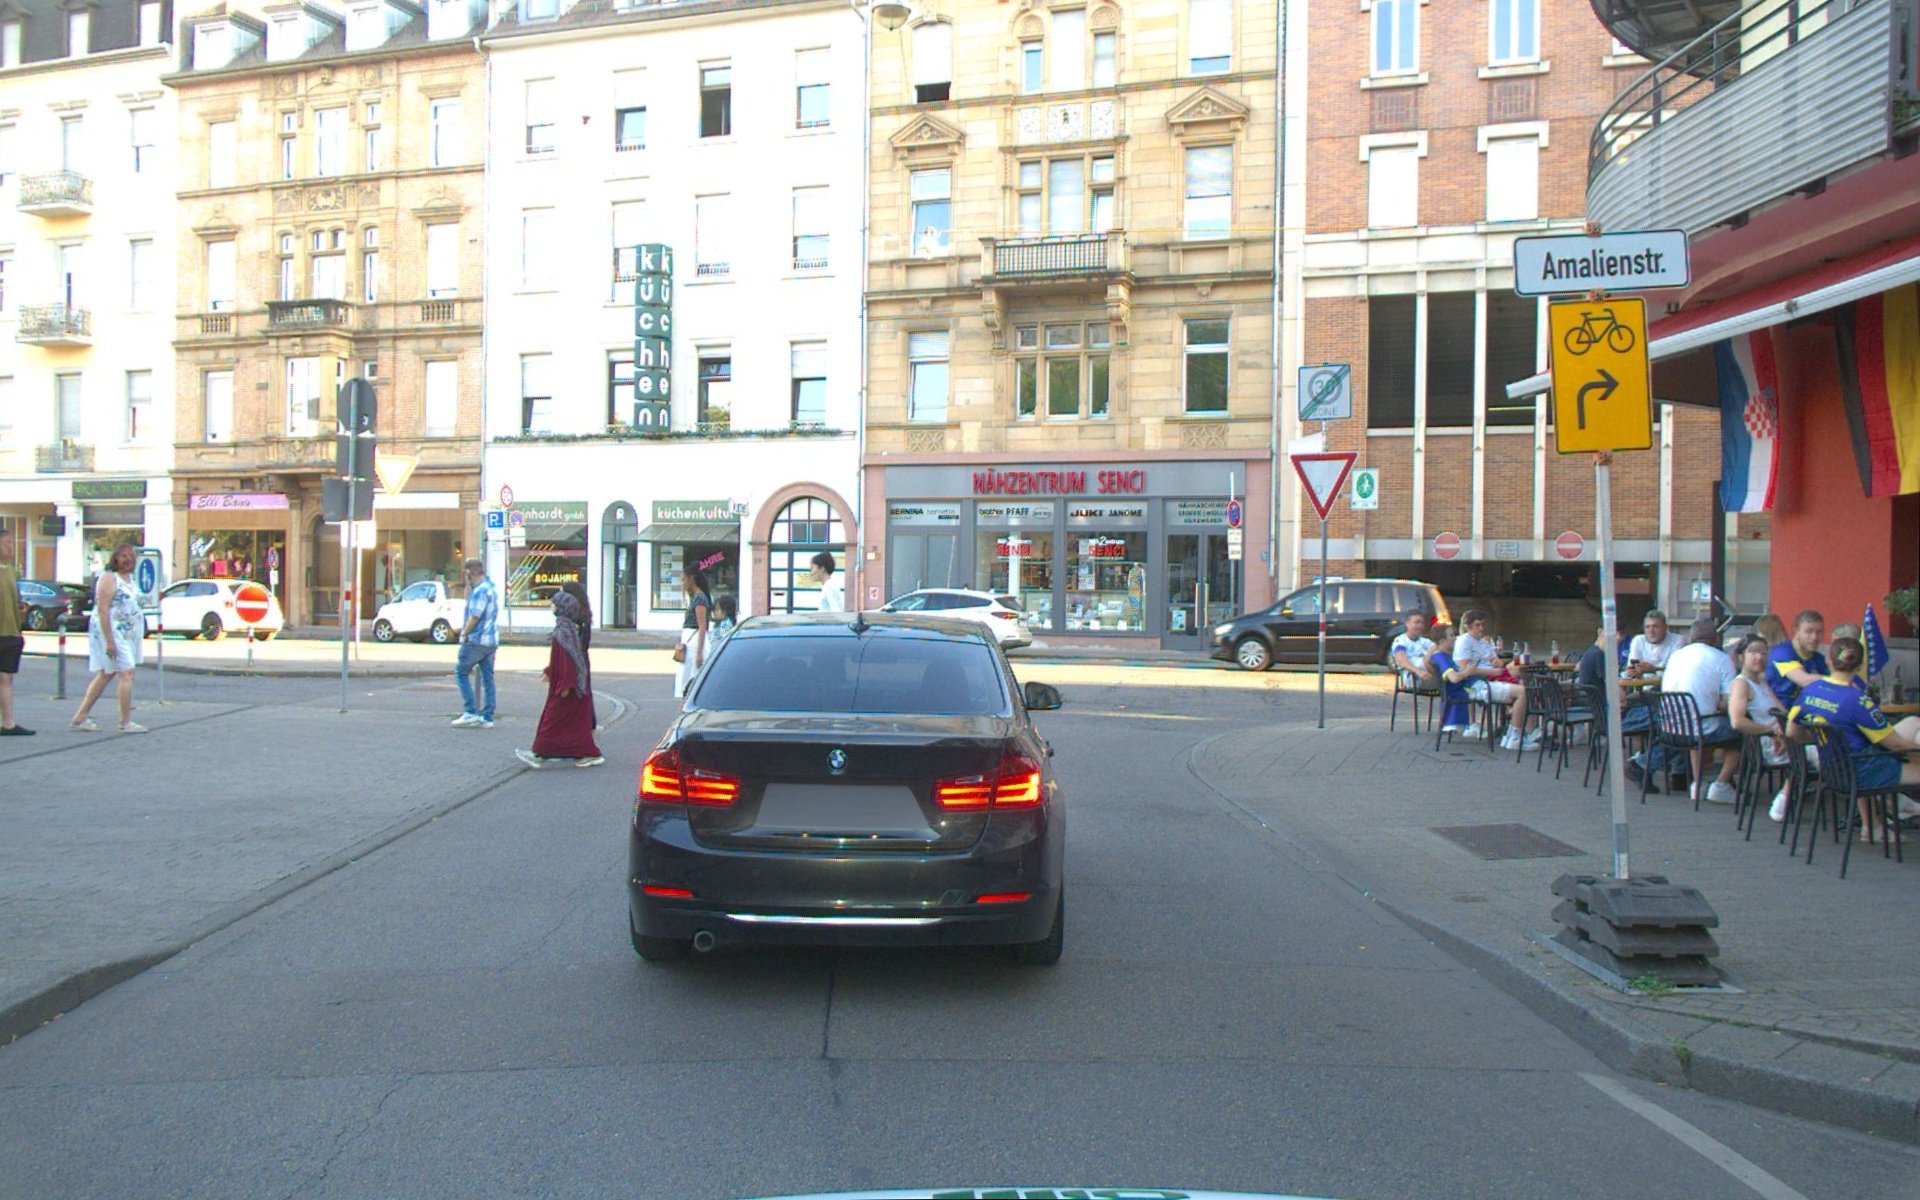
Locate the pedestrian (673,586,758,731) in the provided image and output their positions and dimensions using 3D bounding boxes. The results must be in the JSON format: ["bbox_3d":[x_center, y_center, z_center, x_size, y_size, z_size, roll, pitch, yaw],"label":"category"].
[{"bbox_3d":[-2.591,0.610,17.580,0.798,1.500,0.607,0,0,1],"label":"pedestrian"}]

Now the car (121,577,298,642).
[{"bbox_3d":[-18.172,0.196,40.052,3.909,1.498,1.882,1,1,27],"label":"car"}]

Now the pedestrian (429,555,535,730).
[{"bbox_3d":[-4.988,0.432,17.296,0.876,1.755,0.608,2,2,3],"label":"pedestrian"}]

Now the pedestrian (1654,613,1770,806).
[{"bbox_3d":[5.331,0.759,11.724,0.622,1.298,0.504,-2,0,-40],"label":"pedestrian"}]

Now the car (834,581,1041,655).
[{"bbox_3d":[-0.502,0.393,37.153,4.261,1.590,1.869,0,0,20],"label":"car"}]

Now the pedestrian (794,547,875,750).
[{"bbox_3d":[-1.209,0.455,16.022,0.684,1.910,0.678,1,0,0],"label":"pedestrian"}]

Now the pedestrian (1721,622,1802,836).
[{"bbox_3d":[4.928,0.788,10.185,0.336,1.279,0.360,-2,0,13],"label":"pedestrian"}]

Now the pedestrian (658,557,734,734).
[{"bbox_3d":[-2.704,0.455,16.976,0.653,1.776,0.607,0,0,3],"label":"pedestrian"}]

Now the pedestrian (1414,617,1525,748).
[{"bbox_3d":[4.723,0.757,15.371,0.871,1.170,0.619,0,0,4],"label":"pedestrian"}]

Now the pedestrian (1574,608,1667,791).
[{"bbox_3d":[4.959,0.736,12.434,0.481,1.326,0.418,-2,0,-3],"label":"pedestrian"}]

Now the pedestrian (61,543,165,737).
[{"bbox_3d":[-7.974,0.361,15.575,0.661,1.776,0.655,1,0,36],"label":"pedestrian"}]

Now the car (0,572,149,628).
[{"bbox_3d":[-25.494,0.001,47.413,3.904,1.537,1.800,0,0,20],"label":"car"}]

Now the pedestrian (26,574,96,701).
[{"bbox_3d":[-10.462,0.431,19.246,0.525,1.433,0.469,2,0,28],"label":"pedestrian"}]

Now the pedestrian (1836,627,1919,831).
[{"bbox_3d":[5.829,0.786,10.306,0.528,1.222,0.415,-2,0,45],"label":"pedestrian"}]

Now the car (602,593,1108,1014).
[{"bbox_3d":[-0.452,0.705,8.166,1.729,1.399,4.788,2,1,-2],"label":"car"}]

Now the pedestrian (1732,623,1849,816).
[{"bbox_3d":[5.518,0.778,10.989,0.415,1.222,0.560,-2,0,-44],"label":"pedestrian"}]

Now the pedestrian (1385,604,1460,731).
[{"bbox_3d":[4.805,0.689,17.214,0.604,1.276,0.736,0,0,3],"label":"pedestrian"}]

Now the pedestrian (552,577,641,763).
[{"bbox_3d":[-3.303,0.627,15.075,0.711,1.637,0.648,2,0,-12],"label":"pedestrian"}]

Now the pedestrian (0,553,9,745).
[{"bbox_3d":[-8.576,0.427,14.219,0.490,1.672,0.520,0,0,-1],"label":"pedestrian"}]

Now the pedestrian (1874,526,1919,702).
[{"bbox_3d":[9.166,0.135,15.569,0.705,1.635,0.681,2,0,-29],"label":"pedestrian"}]

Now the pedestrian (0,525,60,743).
[{"bbox_3d":[-8.557,0.291,14.867,0.571,1.915,0.634,0,0,3],"label":"pedestrian"}]

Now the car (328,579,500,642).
[{"bbox_3d":[-13.966,0.258,42.341,3.904,1.537,1.800,0,0,20],"label":"car"}]

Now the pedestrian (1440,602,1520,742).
[{"bbox_3d":[5.022,0.682,16.009,0.604,1.306,0.660,0,0,5],"label":"pedestrian"}]

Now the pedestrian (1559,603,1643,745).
[{"bbox_3d":[6.123,0.688,15.789,0.606,1.301,0.699,1,0,34],"label":"pedestrian"}]

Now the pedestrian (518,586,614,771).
[{"bbox_3d":[-3.406,0.669,14.337,0.722,1.540,0.648,2,0,-12],"label":"pedestrian"}]

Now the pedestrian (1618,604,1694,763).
[{"bbox_3d":[5.863,0.691,13.953,0.479,1.299,0.522,0,0,10],"label":"pedestrian"}]

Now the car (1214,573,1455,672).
[{"bbox_3d":[6.751,0.384,29.797,4.093,1.653,1.801,1,0,15],"label":"car"}]

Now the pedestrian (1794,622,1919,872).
[{"bbox_3d":[5.099,0.777,8.994,0.841,1.279,0.491,-2,0,-3],"label":"pedestrian"}]
